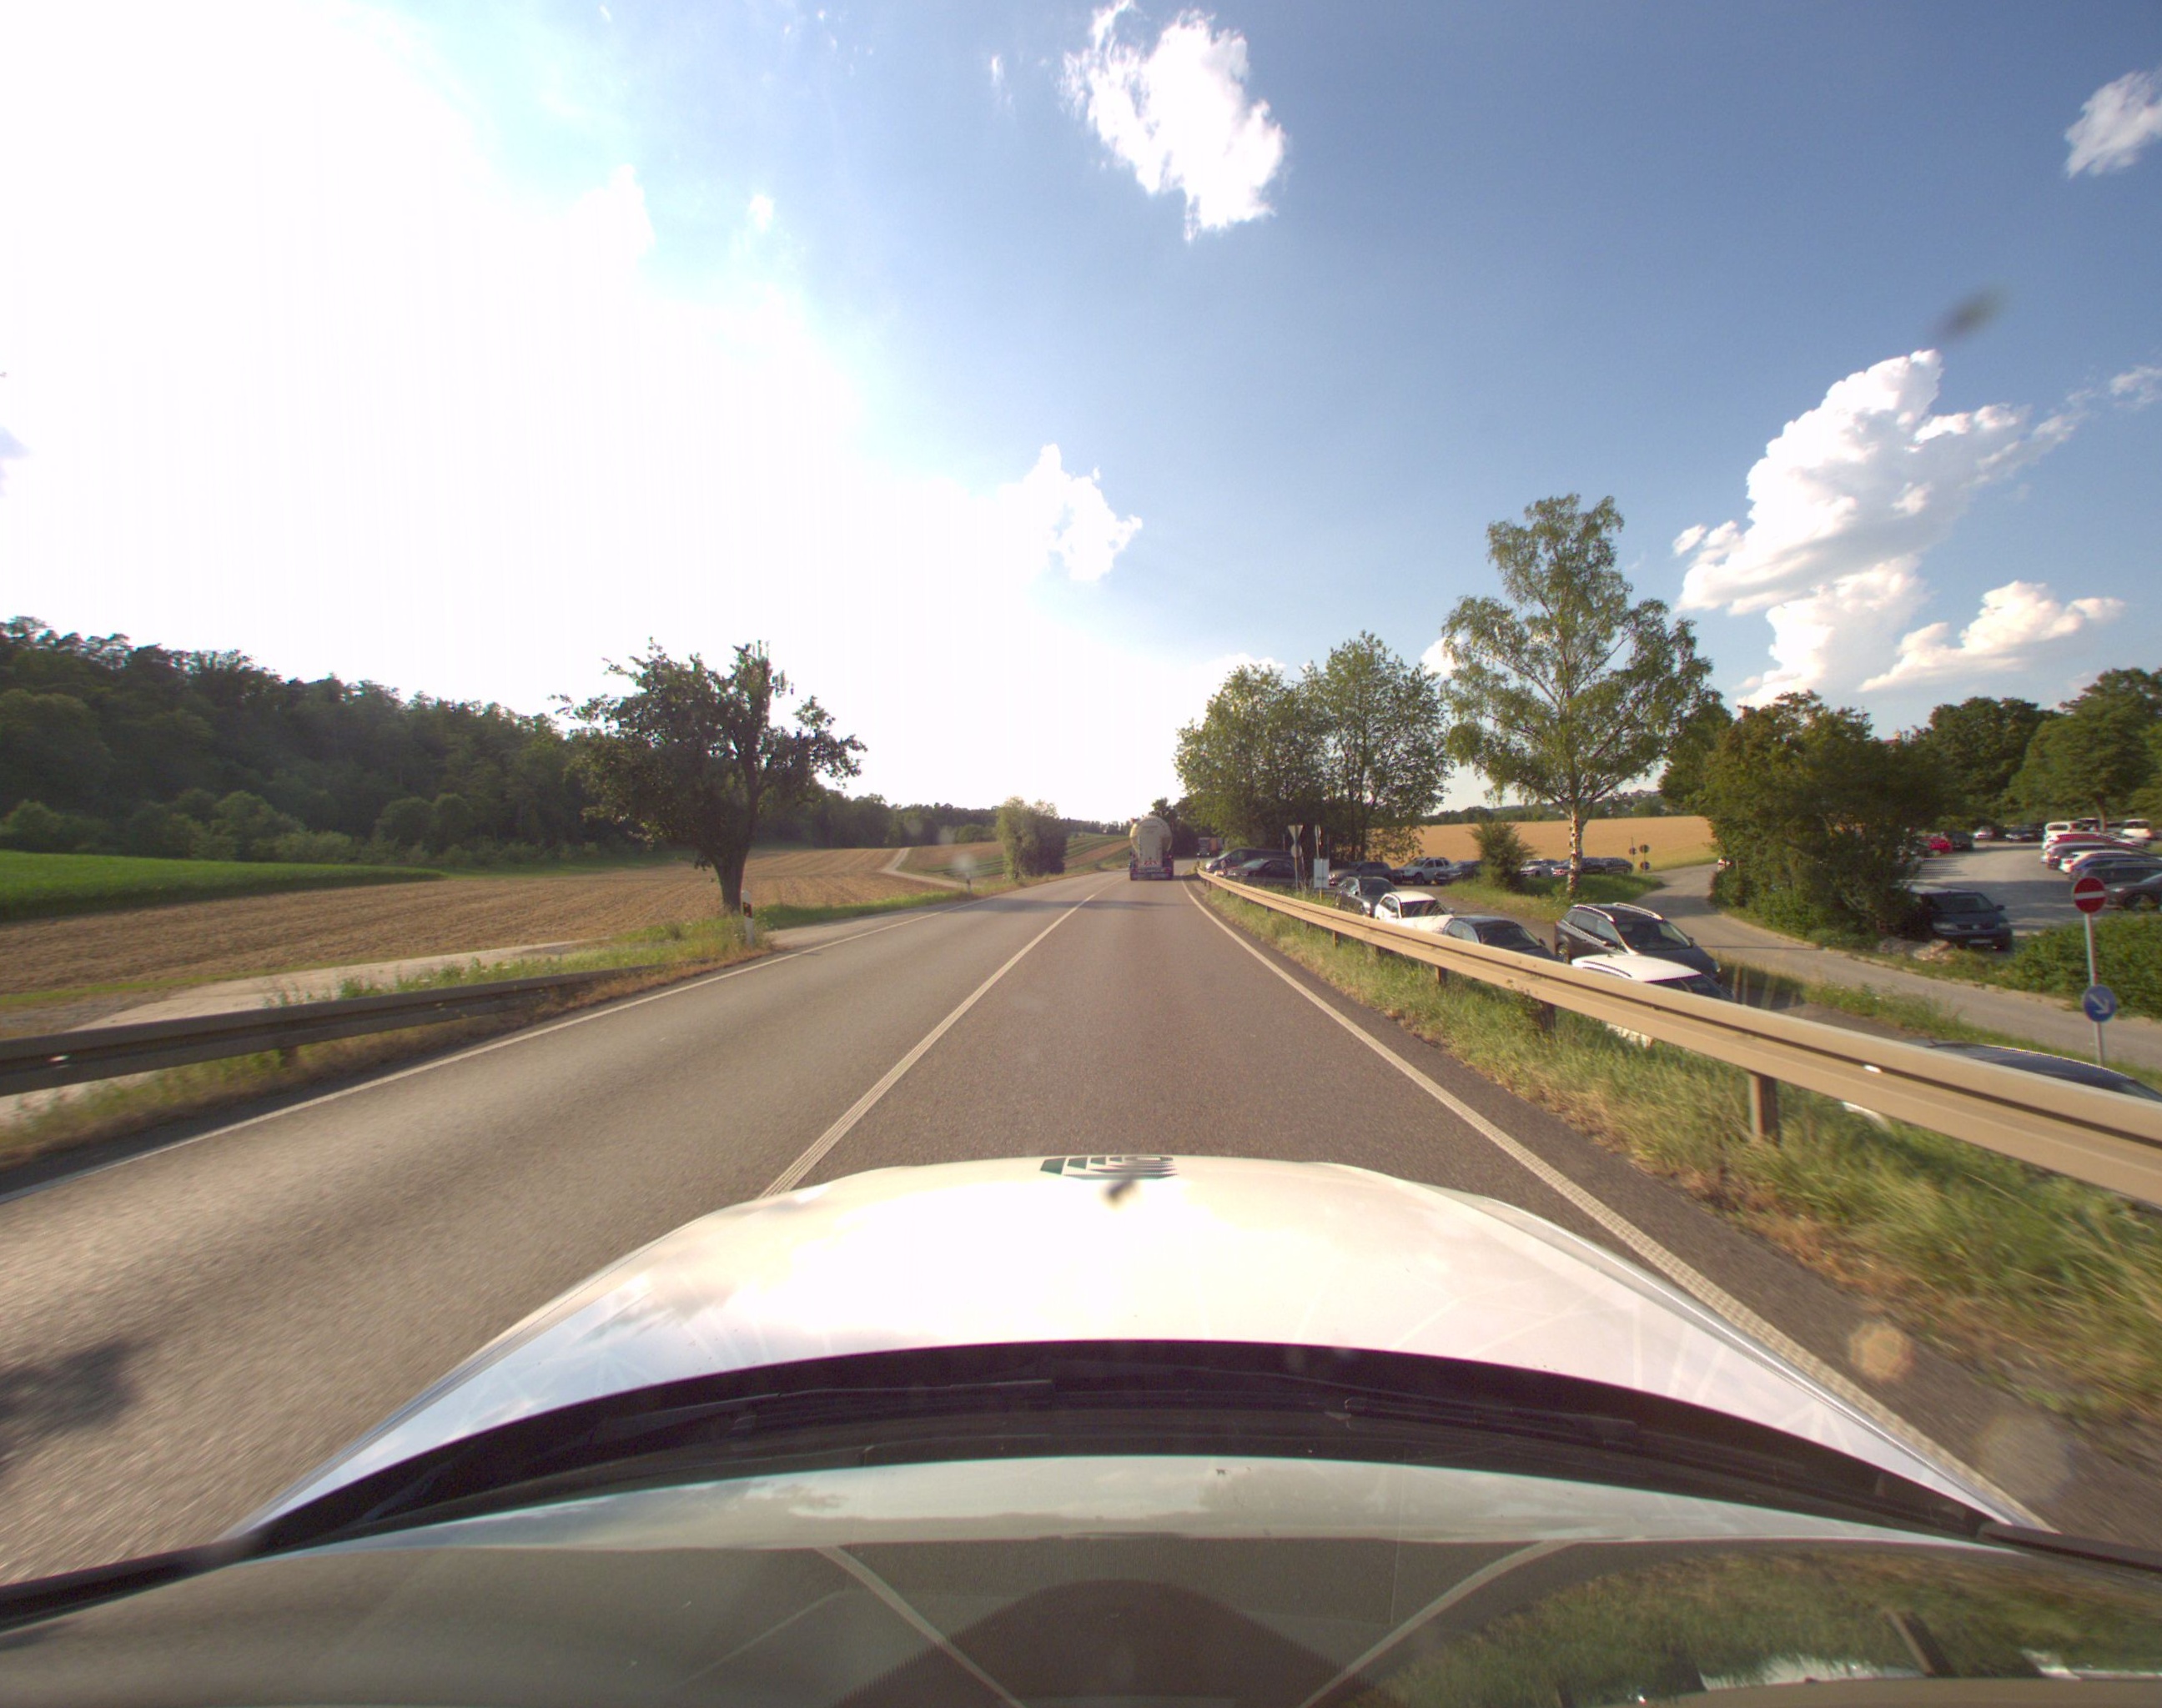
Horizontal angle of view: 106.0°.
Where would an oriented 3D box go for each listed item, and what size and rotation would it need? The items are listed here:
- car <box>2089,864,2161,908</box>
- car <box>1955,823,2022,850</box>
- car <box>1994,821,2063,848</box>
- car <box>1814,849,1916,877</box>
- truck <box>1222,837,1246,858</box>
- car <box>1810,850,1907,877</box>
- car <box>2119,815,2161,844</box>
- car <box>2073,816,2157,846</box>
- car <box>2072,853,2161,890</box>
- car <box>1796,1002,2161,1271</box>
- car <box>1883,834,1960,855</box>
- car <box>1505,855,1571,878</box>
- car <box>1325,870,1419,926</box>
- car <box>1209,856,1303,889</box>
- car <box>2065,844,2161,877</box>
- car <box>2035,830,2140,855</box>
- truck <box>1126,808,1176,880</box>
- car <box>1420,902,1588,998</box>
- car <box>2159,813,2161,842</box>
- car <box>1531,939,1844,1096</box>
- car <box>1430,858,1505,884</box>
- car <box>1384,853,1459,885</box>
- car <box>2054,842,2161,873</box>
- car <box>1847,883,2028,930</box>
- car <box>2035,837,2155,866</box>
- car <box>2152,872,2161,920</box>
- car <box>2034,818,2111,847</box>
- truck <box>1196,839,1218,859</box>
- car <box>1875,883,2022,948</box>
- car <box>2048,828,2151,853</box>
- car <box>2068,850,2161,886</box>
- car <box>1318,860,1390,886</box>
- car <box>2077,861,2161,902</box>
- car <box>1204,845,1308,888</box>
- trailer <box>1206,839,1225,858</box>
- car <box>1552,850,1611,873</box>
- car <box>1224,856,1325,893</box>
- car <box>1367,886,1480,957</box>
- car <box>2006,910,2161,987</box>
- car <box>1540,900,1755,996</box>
[{"bbox_3d":[44.208,1.279,32.684,1.814,1.691,4.541,-1,0,-43],"label":"car"},{"bbox_3d":[86.871,-1.703,77.975,5.672,2.243,2.344,-2,-1,-21],"label":"car"},{"bbox_3d":[87.741,-1.805,75.401,5.672,2.243,2.344,-2,-1,-21],"label":"car"},{"bbox_3d":[49.767,0.568,51.734,1.814,1.691,4.541,-1,0,-43],"label":"car"},{"bbox_3d":[32.891,-1.541,174.274,3.157,4.227,13.236,-2,0,19],"label":"truck"},{"bbox_3d":[51.697,0.671,54.218,1.814,1.691,4.541,-1,0,-43],"label":"car"},{"bbox_3d":[89.567,-2.120,67.431,5.661,2.243,2.321,-3,-1,-15],"label":"car"},{"bbox_3d":[88.780,-1.955,69.916,5.661,2.243,2.348,-3,-1,-15],"label":"car"},{"bbox_3d":[50.724,0.804,38.632,1.814,1.691,4.541,-1,0,-43],"label":"car"},{"bbox_3d":[10.738,2.931,8.687,1.887,1.559,4.780,-5,2,-1],"label":"car"},{"bbox_3d":[71.980,-0.804,69.808,1.814,1.691,4.541,-1,0,-43],"label":"car"},{"bbox_3d":[31.635,0.835,56.381,4.659,1.507,1.980,0,0,-32],"label":"car"},{"bbox_3d":[10.922,1.598,30.953,1.885,1.559,4.784,-5,2,1],"label":"car"},{"bbox_3d":[8.598,0.928,40.038,4.330,1.399,1.707,2,1,-24],"label":"car"},{"bbox_3d":[56.404,0.348,43.632,1.814,1.691,4.541,-1,0,-43],"label":"car"},{"bbox_3d":[71.567,-0.805,58.019,1.814,1.691,4.541,-1,0,-43],"label":"car"},{"bbox_3d":[4.659,-0.584,53.932,2.879,4.142,13.190,-1,0,5],"label":"truck"},{"bbox_3d":[10.424,2.287,20.546,1.884,1.559,4.787,-5,2,3],"label":"car"},{"bbox_3d":[88.911,-2.261,64.426,5.661,2.243,2.348,-3,-1,-15],"label":"car"},{"bbox_3d":[10.385,2.686,14.546,1.887,1.559,4.780,-5,2,-1],"label":"car"},{"bbox_3d":[22.587,0.968,47.522,4.607,1.441,1.793,0,0,-33],"label":"car"},{"bbox_3d":[20.884,0.873,49.944,4.222,1.747,1.797,-2,1,-23],"label":"car"},{"bbox_3d":[58.430,0.212,45.851,1.814,1.691,4.541,-1,0,-43],"label":"car"},{"bbox_3d":[33.463,2.026,32.012,4.538,1.691,1.814,-2,0,27],"label":"car"},{"bbox_3d":[62.974,-0.138,50.721,1.814,1.691,4.541,-1,0,-43],"label":"car"},{"bbox_3d":[41.522,1.499,28.610,1.814,1.691,4.541,-1,0,-43],"label":"car"},{"bbox_3d":[88.866,-1.912,73.005,6.081,2.308,2.484,-2,-1,-21],"label":"car"},{"bbox_3d":[25.553,-1.069,164.450,2.369,3.920,10.210,-2,0,19],"label":"truck"},{"bbox_3d":[29.645,2.033,28.053,1.781,1.842,4.623,-2,0,24],"label":"car"},{"bbox_3d":[74.408,-0.982,59.589,1.814,1.691,4.541,-1,0,-43],"label":"car"},{"bbox_3d":[52.596,0.675,40.345,1.814,1.691,4.541,-1,0,-43],"label":"car"},{"bbox_3d":[16.030,1.088,47.824,3.733,1.441,1.798,0,0,-22],"label":"car"},{"bbox_3d":[46.121,1.149,34.684,1.814,1.691,4.541,-1,0,-43],"label":"car"},{"bbox_3d":[9.307,0.643,43.743,5.119,1.943,1.976,4,1,2],"label":"car"},{"bbox_3d":[28.708,-1.259,173.535,2.345,3.920,9.005,-2,0,19],"label":"trailer"},{"bbox_3d":[33.629,0.495,54.688,3.946,1.441,1.793,0,0,-32],"label":"car"},{"bbox_3d":[8.829,0.926,37.104,4.334,1.509,1.706,3,0,-27],"label":"car"},{"bbox_3d":[10.610,2.021,25.628,1.882,1.559,4.791,-5,2,6],"label":"car"},{"bbox_3d":[27.414,2.424,21.508,1.678,1.486,4.305,-2,0,11],"label":"car"},{"bbox_3d":[13.195,2.109,19.419,1.885,1.675,4.784,-2,0,2],"label":"car"}]
